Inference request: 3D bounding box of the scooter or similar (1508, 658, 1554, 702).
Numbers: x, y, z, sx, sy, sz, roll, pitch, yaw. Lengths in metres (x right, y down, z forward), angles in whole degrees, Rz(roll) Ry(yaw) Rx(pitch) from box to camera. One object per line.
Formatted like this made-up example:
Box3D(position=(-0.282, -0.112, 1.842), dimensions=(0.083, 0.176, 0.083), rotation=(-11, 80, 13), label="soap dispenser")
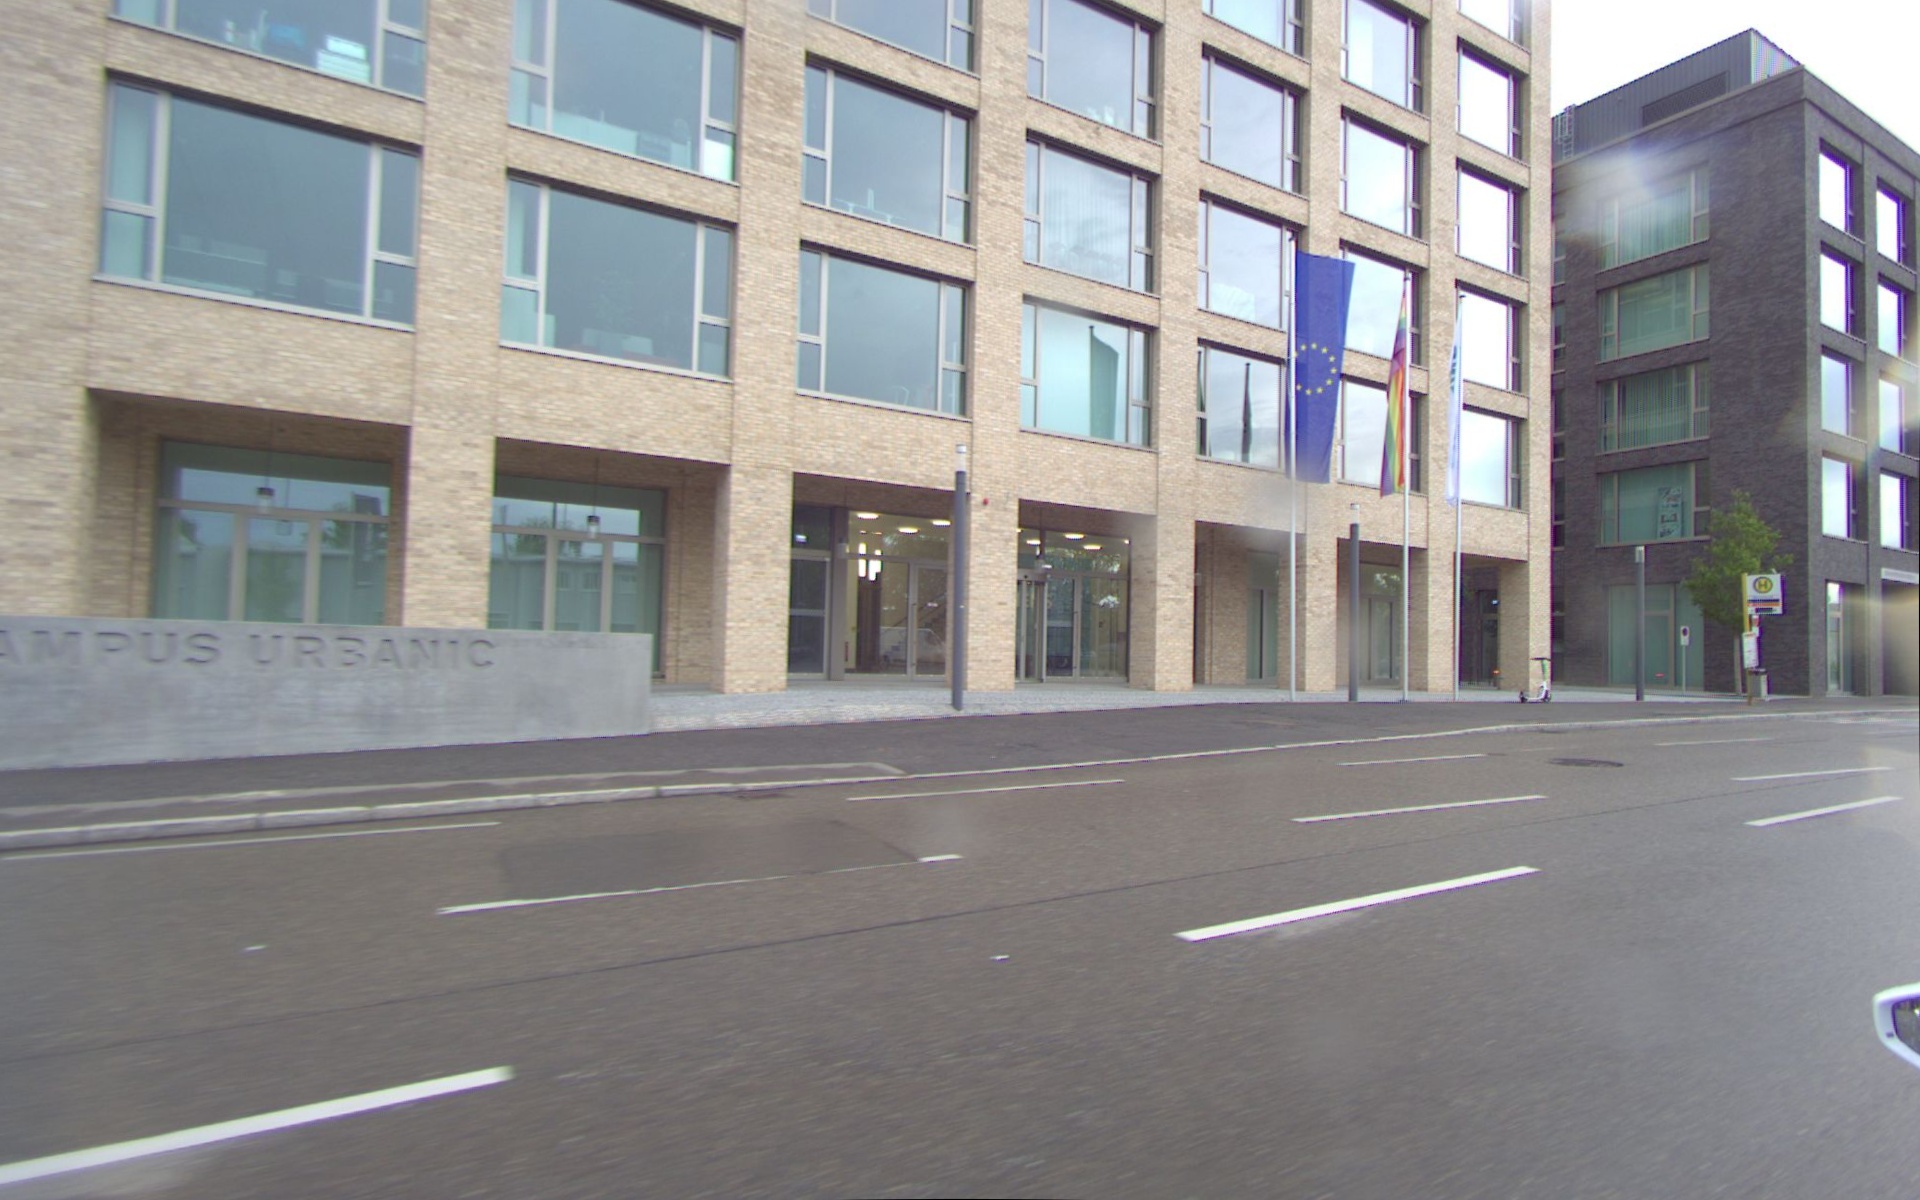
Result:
Box3D(position=(14.666, 2.049, 25.790), dimensions=(1.411, 1.085, 0.349), rotation=(3, -2, -30), label="scooter or similar")
